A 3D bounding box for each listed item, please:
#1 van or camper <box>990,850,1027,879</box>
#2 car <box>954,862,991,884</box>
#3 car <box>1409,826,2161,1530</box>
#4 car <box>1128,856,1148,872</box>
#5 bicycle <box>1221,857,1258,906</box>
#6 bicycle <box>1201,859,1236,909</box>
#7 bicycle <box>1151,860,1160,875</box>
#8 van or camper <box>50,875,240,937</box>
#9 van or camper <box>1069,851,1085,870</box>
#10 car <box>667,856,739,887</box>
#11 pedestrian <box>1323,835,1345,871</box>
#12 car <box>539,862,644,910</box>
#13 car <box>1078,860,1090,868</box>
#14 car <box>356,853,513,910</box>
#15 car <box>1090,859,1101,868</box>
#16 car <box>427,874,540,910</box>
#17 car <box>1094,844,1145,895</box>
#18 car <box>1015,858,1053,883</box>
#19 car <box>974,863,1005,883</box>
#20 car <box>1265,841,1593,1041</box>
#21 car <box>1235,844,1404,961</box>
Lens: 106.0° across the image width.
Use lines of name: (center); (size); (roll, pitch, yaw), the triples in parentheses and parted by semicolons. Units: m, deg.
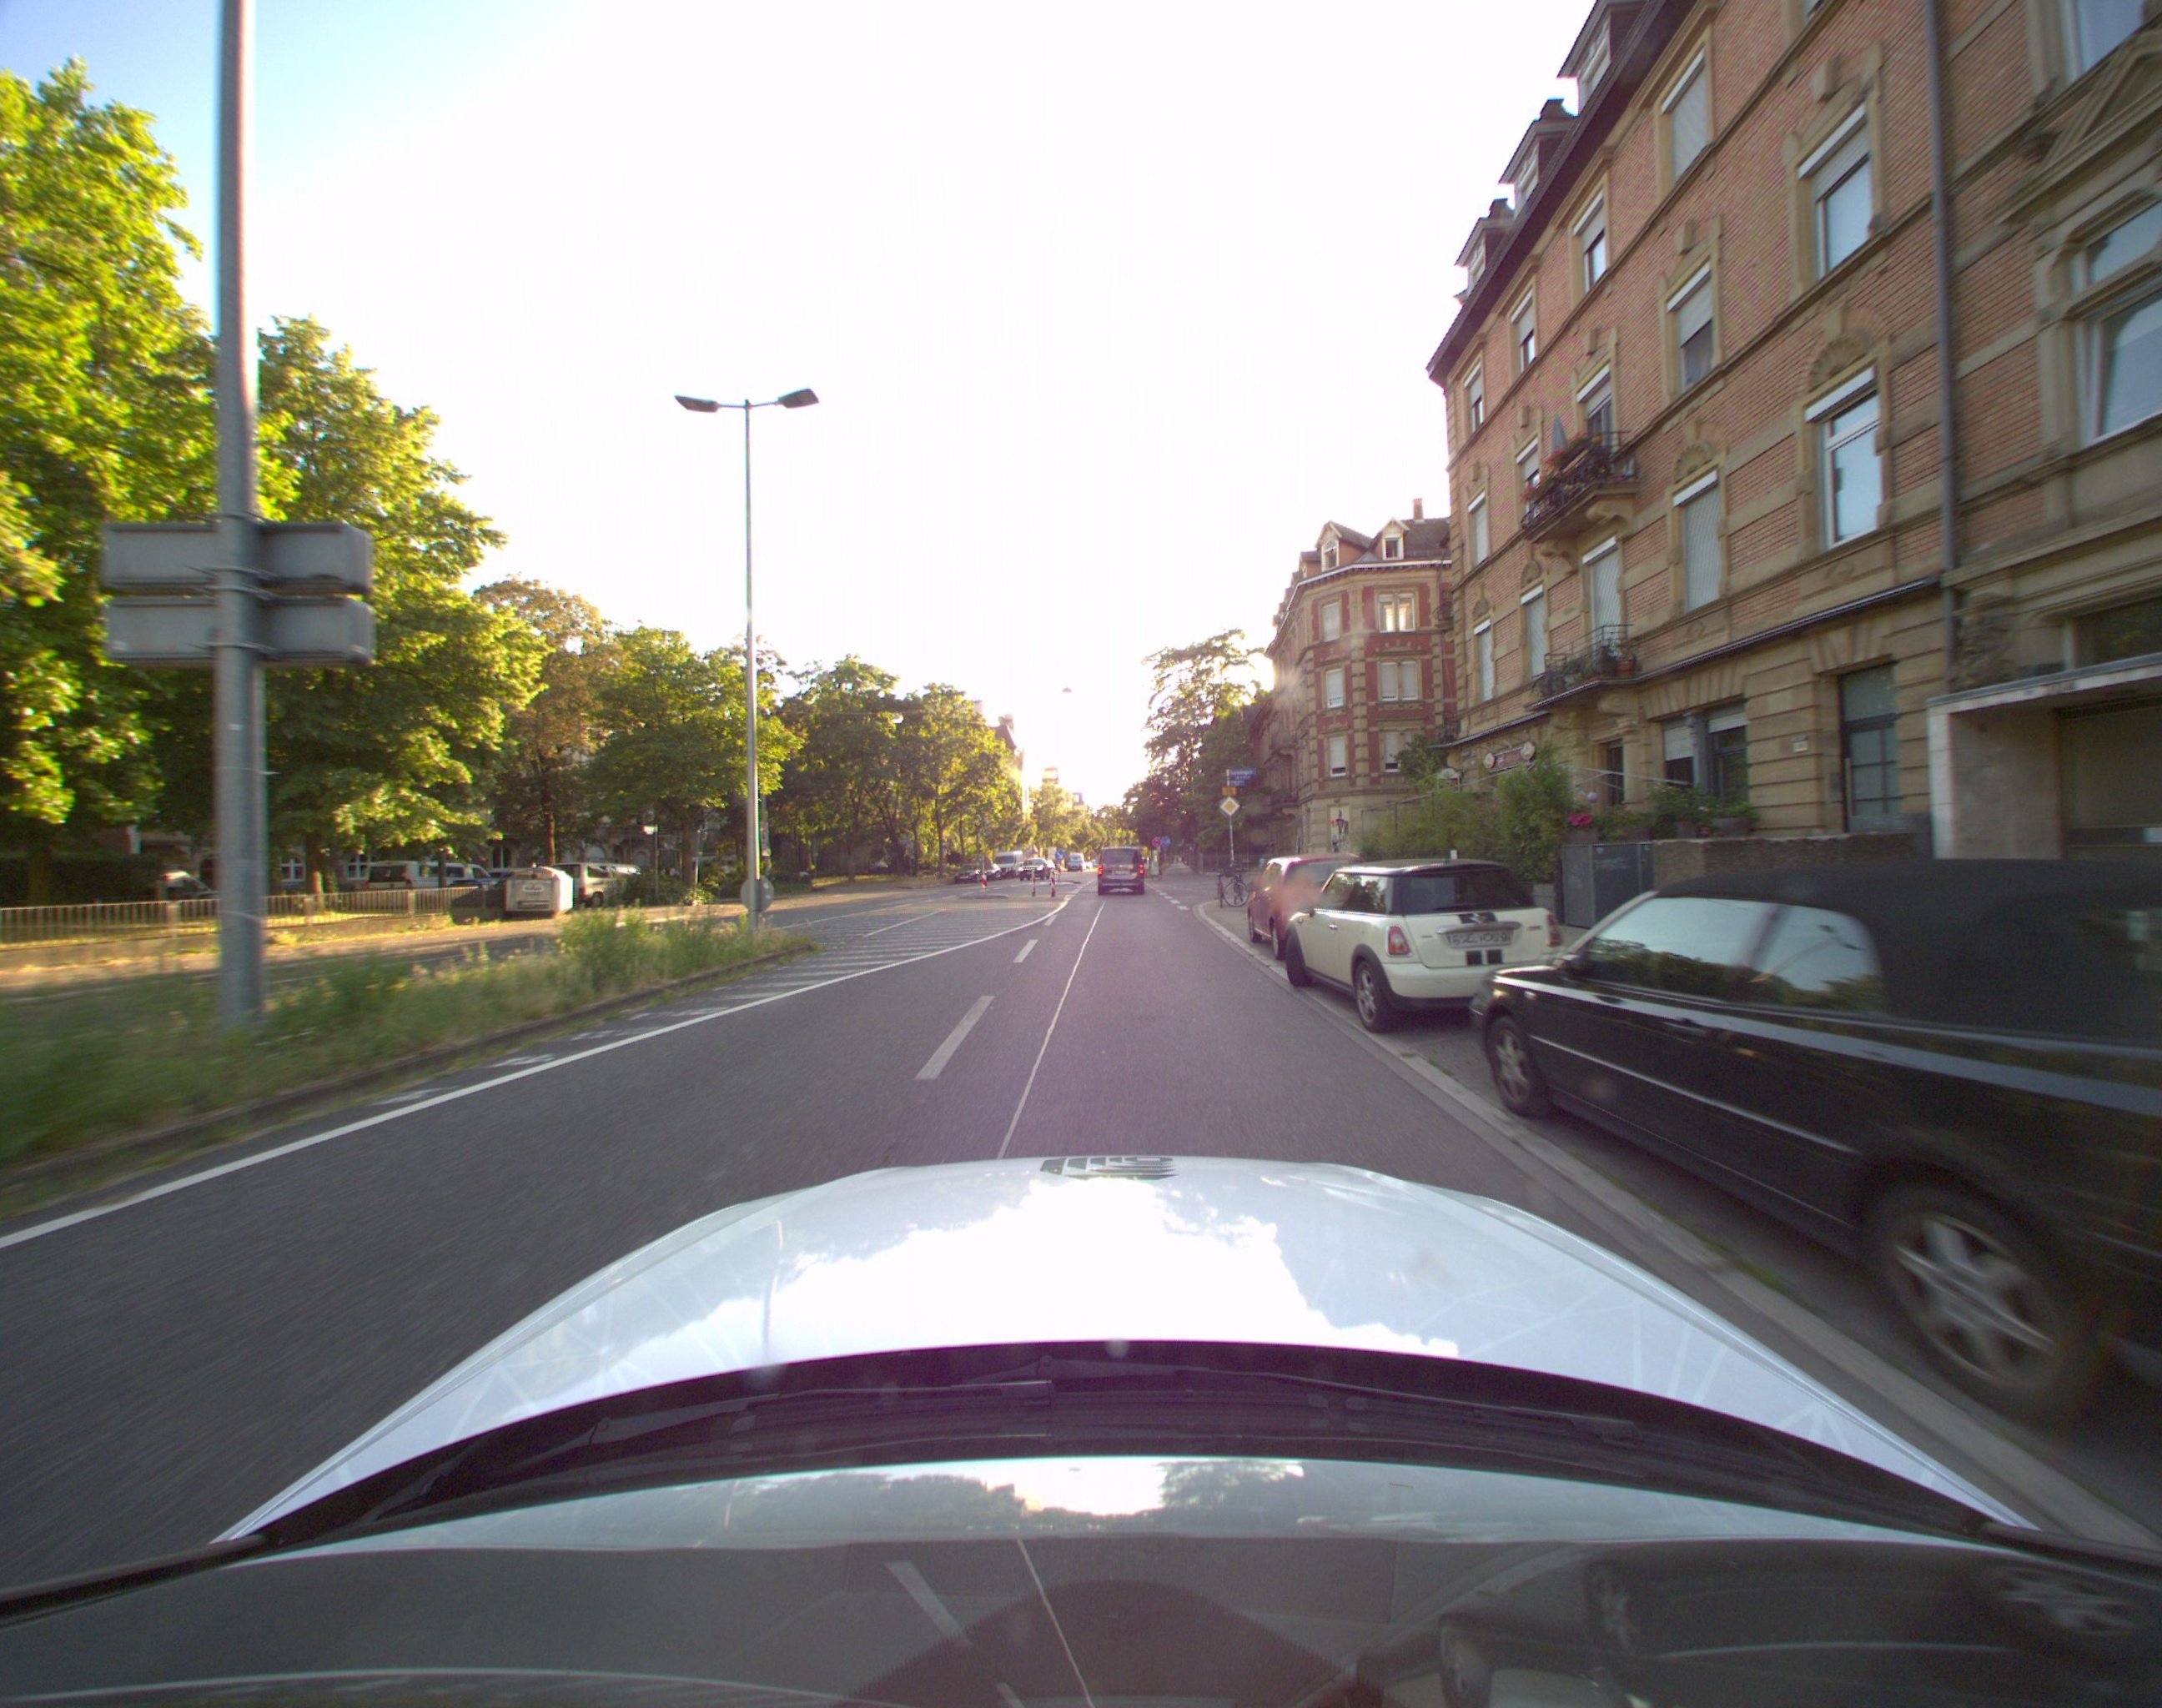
van or camper: (-6.611, 0.955, 74.896); (2.080, 2.468, 6.315); (-3, 0, 6)
car: (-8.126, 1.388, 61.101); (1.615, 1.506, 4.552); (-2, 0, 7)
car: (3.303, 0.689, 3.713); (1.880, 1.426, 4.344); (-5, 0, 2)
car: (6.173, 1.044, 87.828); (1.984, 1.634, 4.006); (-2, 0, 5)
bicycle: (4.471, 0.765, 23.160); (0.563, 1.275, 2.265); (-6, -2, 2)
bicycle: (3.898, 0.837, 23.164); (0.563, 1.299, 2.265); (-6, -2, 2)
bicycle: (5.911, 1.095, 65.038); (0.643, 1.167, 1.932); (0, 0, 3)
van or camper: (-42.064, 2.247, 36.874); (2.056, 2.471, 5.435); (-1, 0, 5)
van or camper: (-0.585, 0.929, 114.992); (1.986, 2.669, 6.042); (0, 0, 2)
car: (-33.339, 1.522, 71.948); (2.244, 2.485, 5.267); (-2, 0, 40)
pedestrian: (12.879, -0.041, 41.417); (0.742, 1.778, 0.832); (-5, -1, 2)
car: (-20.268, 1.273, 33.913); (1.811, 1.795, 4.002); (-1, 0, 2)
car: (0.541, 1.625, 129.257); (1.528, 1.248, 3.619); (0, 0, 6)
car: (-27.642, 1.109, 35.112); (2.202, 2.289, 5.111); (-1, 0, 9)
car: (2.603, 1.647, 143.771); (1.688, 1.451, 4.006); (0, 0, 6)
car: (-25.281, 1.589, 34.620); (1.725, 1.332, 4.002); (-1, 0, 2)
car: (1.577, 0.606, 33.310); (1.880, 1.925, 3.842); (-2, 0, 3)
car: (-3.553, 1.225, 62.580); (1.866, 1.706, 4.578); (-4, -1, 8)
car: (-7.563, 1.537, 67.307); (1.620, 1.429, 4.249); (-3, 0, 6)
car: (3.149, 0.692, 8.237); (1.671, 1.426, 3.676); (-5, 0, 0)
car: (3.591, 0.666, 12.907); (1.719, 1.465, 3.550); (-5, 0, 3)
